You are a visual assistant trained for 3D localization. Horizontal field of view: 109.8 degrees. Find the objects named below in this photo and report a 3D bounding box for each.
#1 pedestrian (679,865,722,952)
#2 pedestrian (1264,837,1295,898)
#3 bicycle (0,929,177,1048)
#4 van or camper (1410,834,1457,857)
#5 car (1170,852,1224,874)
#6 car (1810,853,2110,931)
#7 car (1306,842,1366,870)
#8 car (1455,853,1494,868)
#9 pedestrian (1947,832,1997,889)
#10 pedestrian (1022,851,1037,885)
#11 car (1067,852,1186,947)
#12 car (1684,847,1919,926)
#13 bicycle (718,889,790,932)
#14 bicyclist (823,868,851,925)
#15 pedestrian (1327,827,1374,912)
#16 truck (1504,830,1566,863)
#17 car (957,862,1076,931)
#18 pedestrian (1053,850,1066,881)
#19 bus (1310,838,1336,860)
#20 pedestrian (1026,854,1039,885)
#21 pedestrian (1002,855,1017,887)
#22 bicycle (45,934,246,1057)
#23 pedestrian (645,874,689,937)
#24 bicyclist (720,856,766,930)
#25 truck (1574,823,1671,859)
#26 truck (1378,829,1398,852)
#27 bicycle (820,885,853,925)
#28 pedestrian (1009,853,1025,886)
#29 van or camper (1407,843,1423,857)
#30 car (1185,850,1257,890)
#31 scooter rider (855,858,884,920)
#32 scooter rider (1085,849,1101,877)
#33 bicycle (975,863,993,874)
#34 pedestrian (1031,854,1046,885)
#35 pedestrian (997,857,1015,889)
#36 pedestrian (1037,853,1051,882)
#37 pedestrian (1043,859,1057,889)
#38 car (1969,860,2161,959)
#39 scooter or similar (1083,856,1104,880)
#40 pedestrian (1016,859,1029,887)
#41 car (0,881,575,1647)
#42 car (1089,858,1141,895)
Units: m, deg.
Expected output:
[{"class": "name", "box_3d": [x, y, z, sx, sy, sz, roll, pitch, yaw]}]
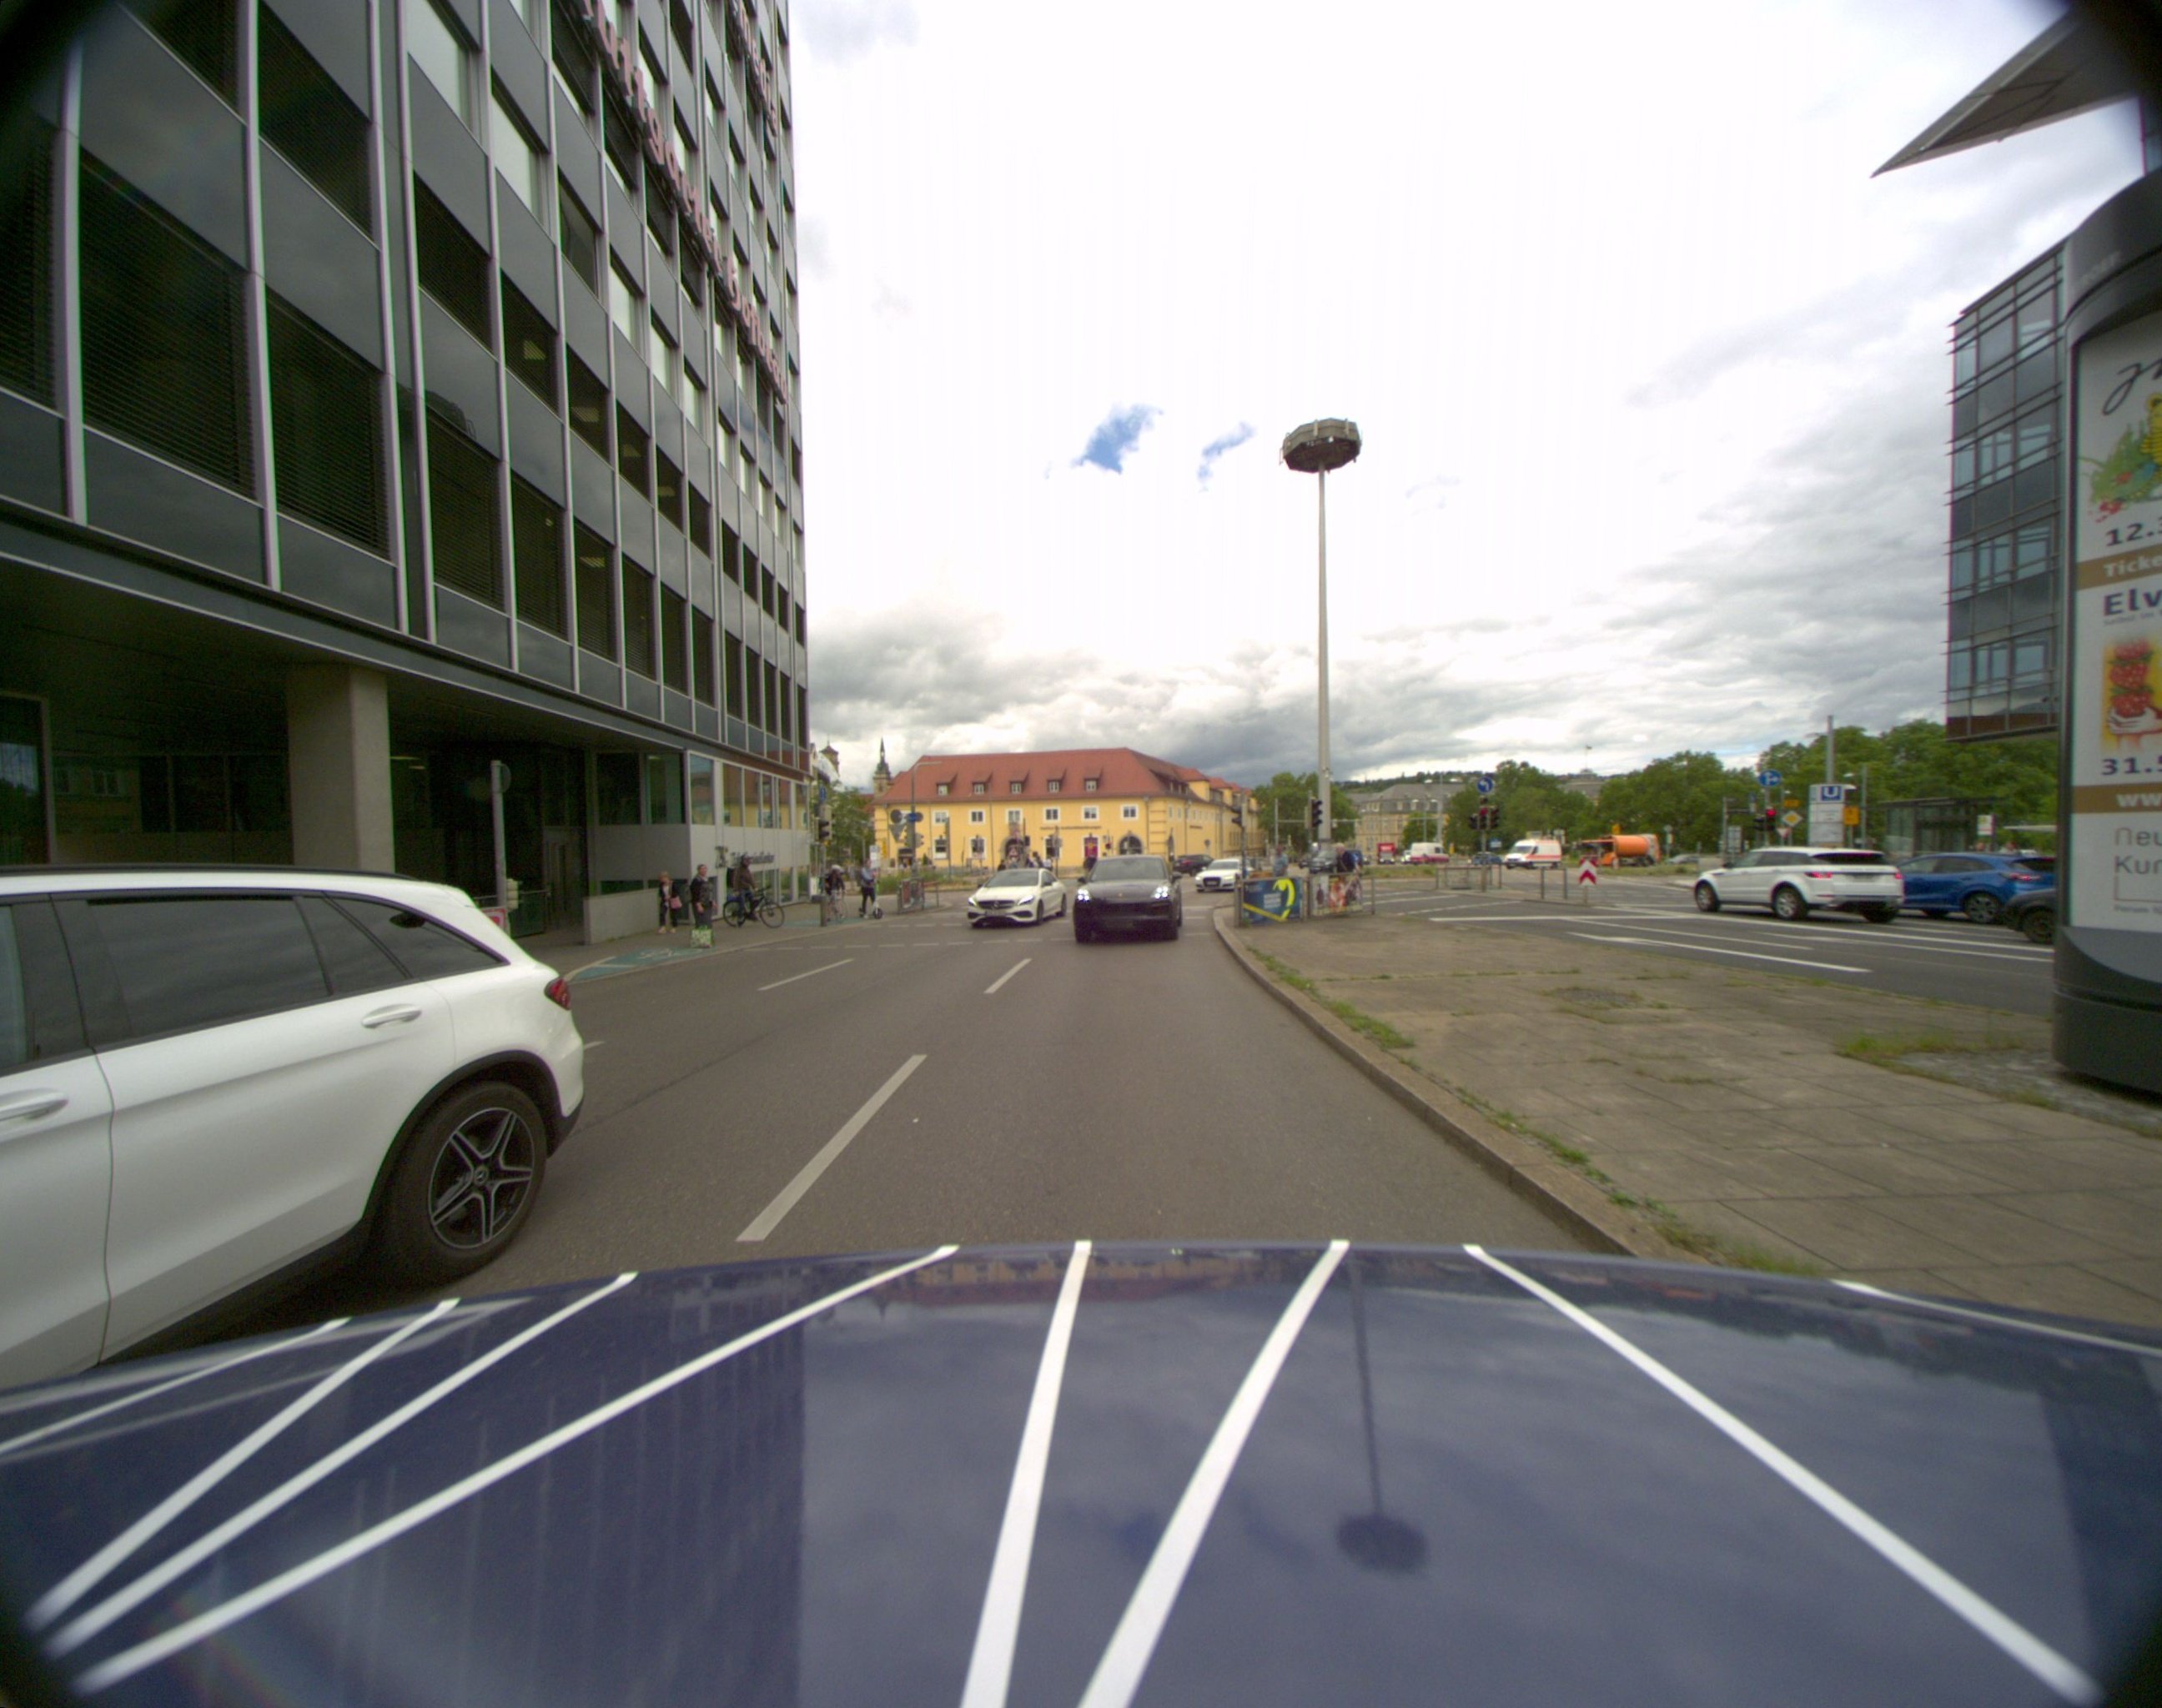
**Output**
[{"class": "pedestrian", "box_3d": [-7.774, 1.096, 15.549, 0.526, 1.702, 0.752, 0, 2, -5]}, {"class": "pedestrian", "box_3d": [6.038, 0.411, 23.107, 0.717, 1.779, 0.634, 2, -1, 0]}, {"class": "bicycle", "box_3d": [-10.948, 1.418, 8.305, 0.715, 1.042, 1.484, -1, 0, -21]}, {"class": "van or camper", "box_3d": [39.256, -0.945, 84.598, 6.173, 2.463, 2.141, -1, 1, -38]}, {"class": "car", "box_3d": [8.691, 0.680, 57.231, 3.807, 1.567, 2.000, -1, 0, 2]}, {"class": "car", "box_3d": [19.132, 0.740, 16.898, 1.998, 1.516, 4.091, -1, 0, 2]}, {"class": "car", "box_3d": [19.091, 0.096, 56.761, 4.650, 1.976, 1.855, -1, 2, -35]}, {"class": "car", "box_3d": [41.979, 0.654, 80.996, 4.637, 1.474, 1.944, -1, -1, -38]}, {"class": "pedestrian", "box_3d": [26.685, 0.196, 22.767, 0.604, 1.622, 0.787, -5, 2, 22]}, {"class": "pedestrian", "box_3d": [-3.033, 0.832, 44.635, 0.611, 1.953, 0.641, -2, 1, -23]}, {"class": "car", "box_3d": [1.137, 0.815, 15.995, 2.003, 1.628, 5.024, -2, 0, 8]}, {"class": "car", "box_3d": [16.359, 0.660, 17.620, 1.738, 1.589, 4.321, -1, 0, 7]}, {"class": "bicycle", "box_3d": [-8.422, 1.436, 19.579, 1.763, 1.001, 0.682, 0, -1, 25]}, {"class": "bicyclist", "box_3d": [-6.855, 1.164, 21.332, 0.566, 1.541, 0.844, -1, 1, -29]}, {"class": "pedestrian", "box_3d": [7.007, 0.381, 19.766, 0.879, 2.160, 0.762, -1, 1, -18]}, {"class": "truck", "box_3d": [39.741, -0.615, 66.438, 5.798, 2.767, 1.952, 0, 0, -28]}, {"class": "car", "box_3d": [-1.551, 1.038, 20.163, 1.868, 1.560, 4.656, -1, 0, 11]}, {"class": "pedestrian", "box_3d": [-1.339, 0.707, 47.960, 0.611, 1.943, 0.642, -2, 1, -20]}, {"class": "bus", "box_3d": [37.819, -0.820, 118.380, 3.428, 3.185, 13.081, -1, 0, 19]}, {"class": "pedestrian", "box_3d": [-3.005, 0.939, 47.217, 0.611, 1.899, 0.641, -2, 1, -23]}, {"class": "pedestrian", "box_3d": [-4.124, 0.966, 43.746, 0.670, 1.805, 0.701, -2, 1, -21]}, {"class": "bicycle", "box_3d": [-10.115, 1.481, 8.305, 0.715, 1.042, 1.484, -1, 0, -21]}, {"class": "pedestrian", "box_3d": [-9.748, 1.192, 17.924, 0.606, 1.434, 0.838, 0, 1, -4]}, {"class": "bicyclist", "box_3d": [-8.677, 0.975, 19.518, 0.812, 1.835, 0.676, 0, 1, 20]}, {"class": "truck", "box_3d": [56.256, -1.274, 78.968, 9.181, 3.593, 2.726, 0, -2, -12]}, {"class": "truck", "box_3d": [49.758, -2.151, 123.254, 2.785, 3.469, 8.363, 0, 0, 21]}, {"class": "bicycle", "box_3d": [-6.912, 1.417, 21.450, 0.582, 1.021, 1.666, -1, 1, -29]}, {"class": "pedestrian", "box_3d": [-3.638, 0.880, 43.102, 0.670, 1.851, 0.701, -2, 1, -21]}, {"class": "van or camper", "box_3d": [45.879, -0.561, 104.455, 1.862, 1.905, 4.721, -1, 0, 22]}, {"class": "car", "box_3d": [6.482, 0.786, 34.778, 2.092, 1.598, 4.422, -4, -4, 25]}, {"class": "scooter rider", "box_3d": [-6.330, 1.034, 22.740, 0.594, 1.798, 0.641, -1, 2, -41]}, {"class": "scooter rider", "box_3d": [0.736, 0.552, 45.718, 0.767, 1.684, 0.745, -2, 1, -16]}, {"class": "bicycle", "box_3d": [-10.336, 1.563, 81.235, 1.769, 1.079, 0.622, -1, 0, 10]}, {"class": "pedestrian", "box_3d": [-2.458, 0.884, 44.007, 0.670, 1.751, 0.762, -2, 1, -21]}, {"class": "pedestrian", "box_3d": [-4.006, 0.988, 40.583, 0.802, 1.688, 0.547, -1, 1, -18]}, {"class": "pedestrian", "box_3d": [-2.240, 0.814, 45.412, 0.611, 1.686, 0.641, -2, 1, -23]}, {"class": "pedestrian", "box_3d": [-1.896, 1.217, 46.866, 0.611, 1.786, 0.641, -2, 1, -23]}, {"class": "car", "box_3d": [15.924, 0.783, 11.158, 1.560, 1.371, 3.633, 0, 0, 1]}, {"class": "scooter or similar", "box_3d": [0.743, 0.813, 45.699, 0.777, 1.398, 1.885, -1, 0, -16]}, {"class": "pedestrian", "box_3d": [-3.554, 1.154, 46.270, 0.611, 1.686, 0.641, -2, 1, -23]}, {"class": "car", "box_3d": [-3.323, 0.954, 1.418, 1.806, 1.637, 4.334, 0, 0, 1]}, {"class": "car", "box_3d": [1.570, 0.971, 33.656, 1.706, 1.524, 3.767, -1, 0, 11]}]
